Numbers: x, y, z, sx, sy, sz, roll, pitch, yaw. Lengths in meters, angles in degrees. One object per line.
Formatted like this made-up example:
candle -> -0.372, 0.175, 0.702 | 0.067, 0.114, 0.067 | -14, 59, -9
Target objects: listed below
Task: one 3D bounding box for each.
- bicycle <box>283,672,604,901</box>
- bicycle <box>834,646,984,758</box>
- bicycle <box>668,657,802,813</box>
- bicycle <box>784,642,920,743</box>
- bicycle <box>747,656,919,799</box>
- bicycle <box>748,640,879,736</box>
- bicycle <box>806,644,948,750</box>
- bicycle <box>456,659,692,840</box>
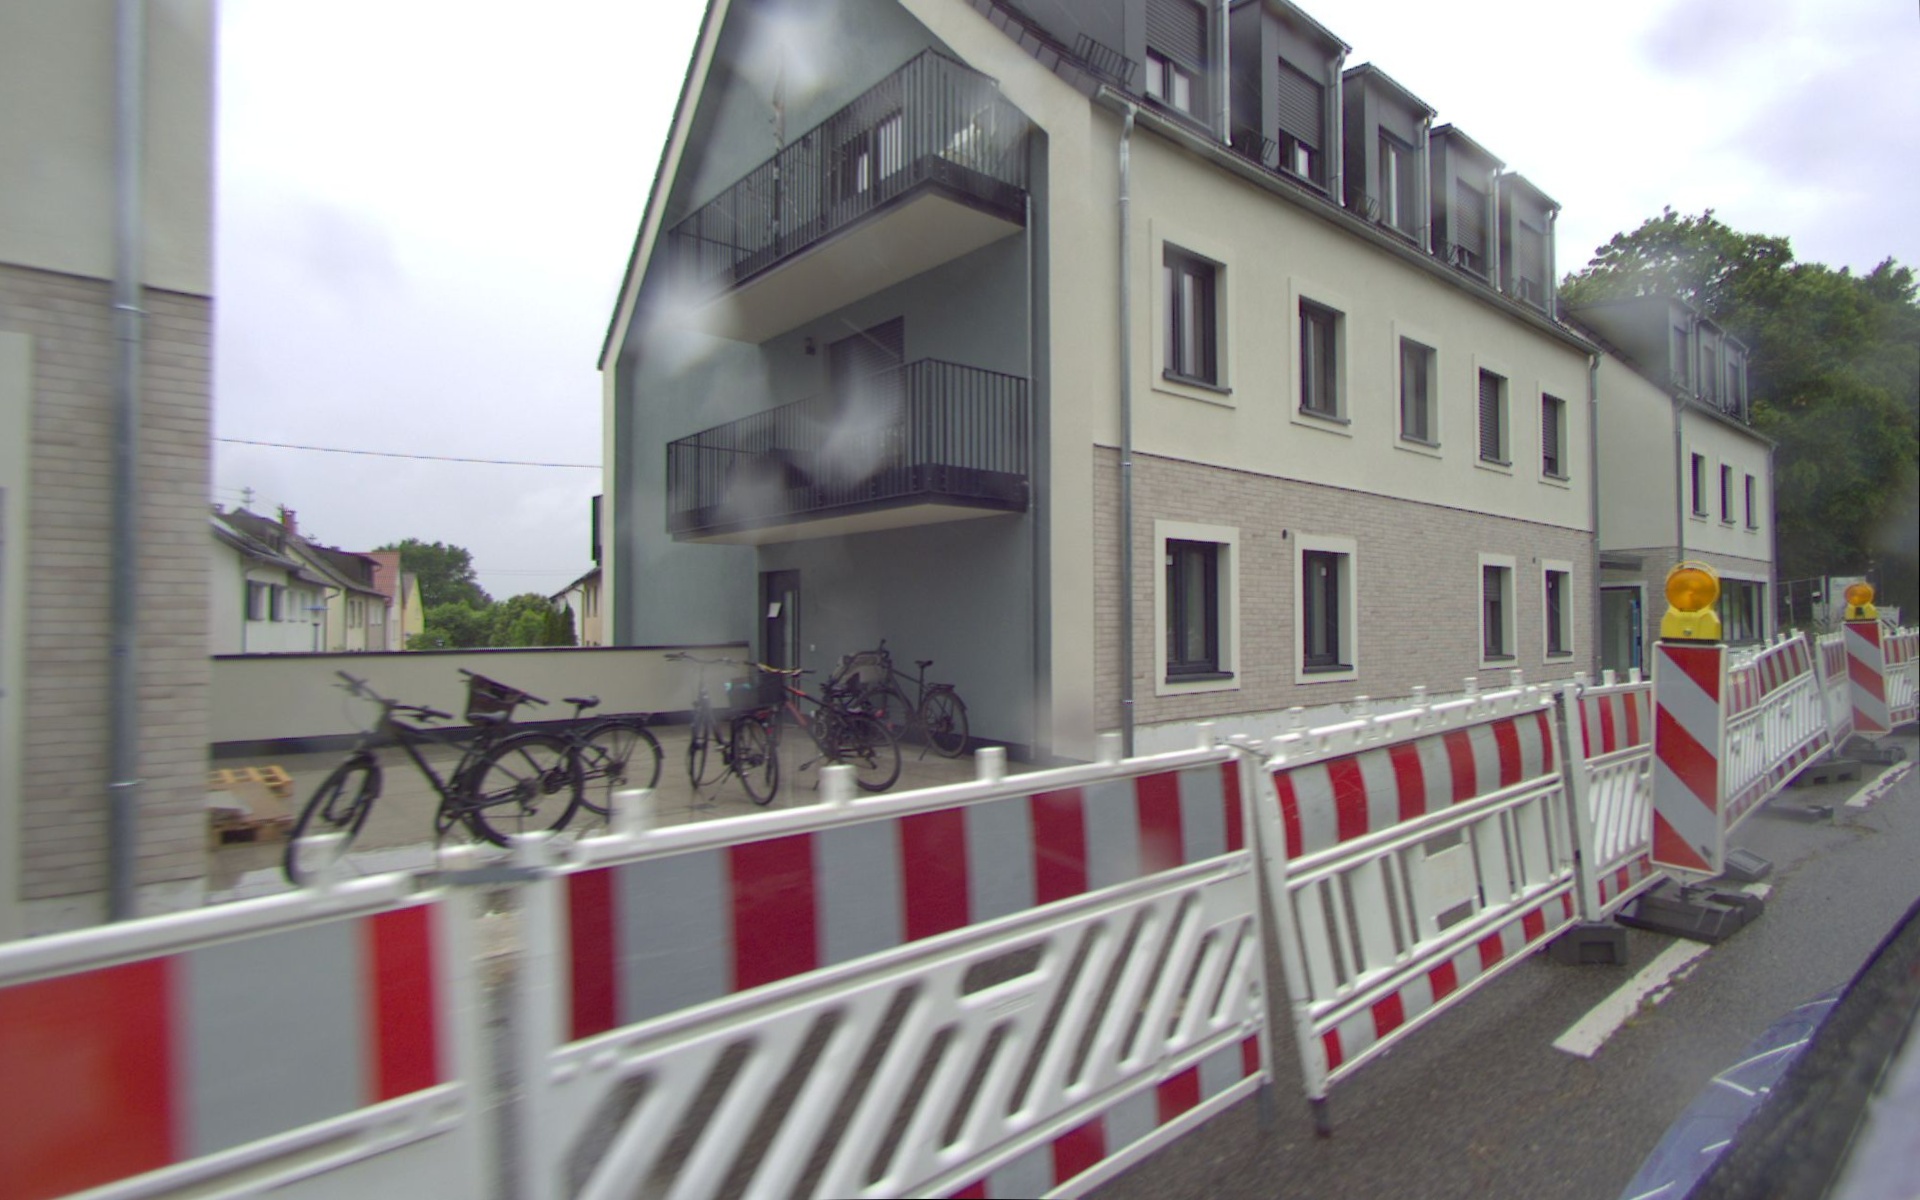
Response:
bicycle -> -2.999, 1.019, 5.992 | 1.627, 1.066, 0.488 | -1, 0, -43
bicycle -> -0.523, 1.045, 10.480 | 1.504, 1.091, 0.489 | 0, 0, -1
bicycle -> -1.871, 1.050, 8.279 | 0.442, 1.066, 1.532 | 0, 0, -39
bicycle -> -1.214, 1.038, 11.528 | 1.504, 1.091, 0.489 | 0, 0, -1
bicycle -> -1.105, 1.046, 8.635 | 1.522, 1.066, 0.445 | 0, 0, 32
bicycle -> -1.730, 1.036, 12.062 | 1.504, 1.091, 0.489 | 0, 0, -1
bicycle -> -0.886, 1.042, 10.995 | 1.504, 1.091, 0.489 | 0, 0, -1
bicycle -> -2.720, 1.006, 7.239 | 1.508, 1.066, 0.488 | -1, 0, -43
